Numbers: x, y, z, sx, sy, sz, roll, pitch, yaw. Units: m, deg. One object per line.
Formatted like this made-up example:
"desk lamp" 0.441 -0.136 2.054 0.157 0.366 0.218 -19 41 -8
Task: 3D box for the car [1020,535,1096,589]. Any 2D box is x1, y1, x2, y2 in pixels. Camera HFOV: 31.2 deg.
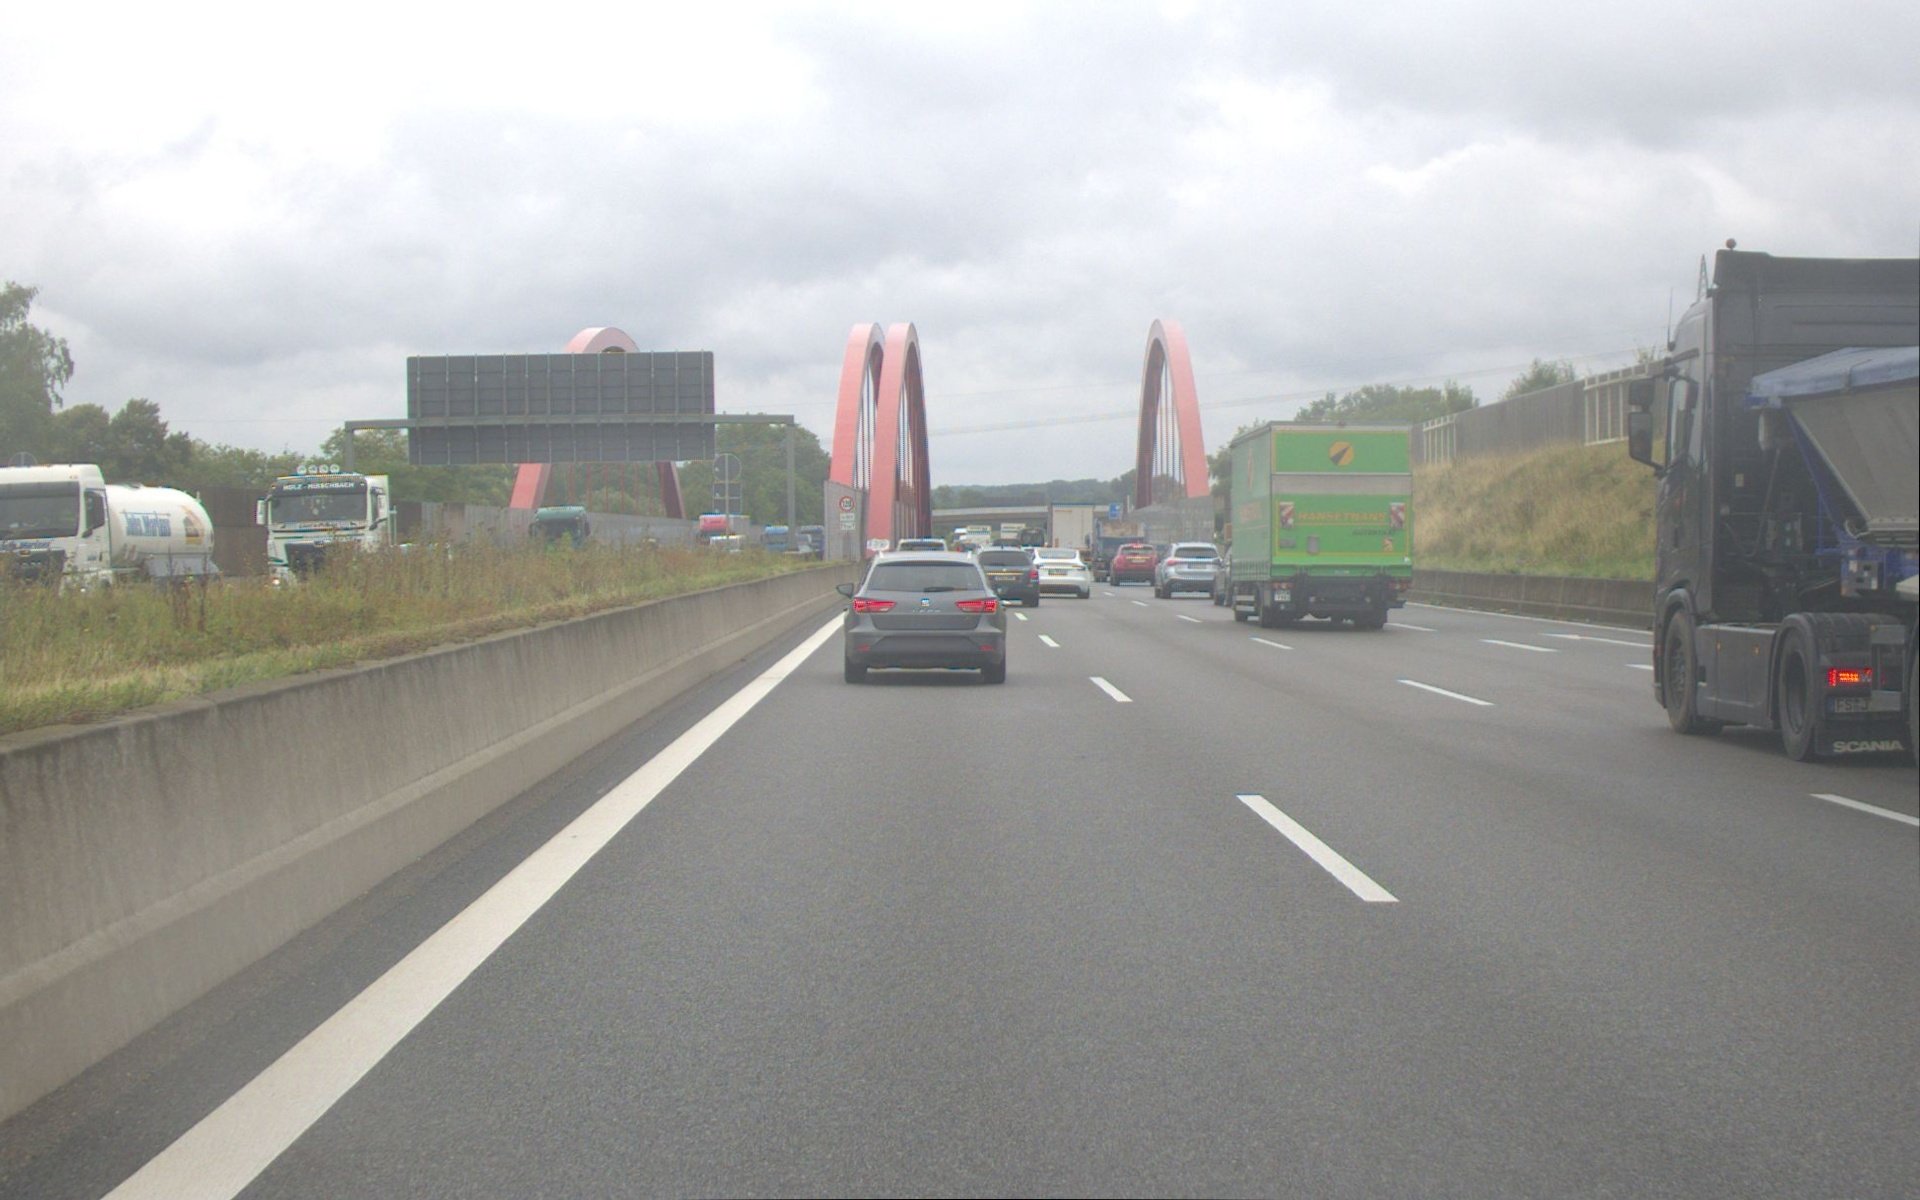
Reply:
"car" 2.769 -1.091 97.757 1.993 1.481 4.000 0 1 0

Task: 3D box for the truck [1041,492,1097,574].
"truck" 6.512 -3.998 206.100 3.044 4.718 7.680 1 1 0

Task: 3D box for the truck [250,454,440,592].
"truck" -14.578 -1.820 82.133 2.956 3.056 8.728 1 1 0

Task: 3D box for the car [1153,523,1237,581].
"car" 6.805 -1.414 100.154 1.993 1.613 5.328 1 1 -1

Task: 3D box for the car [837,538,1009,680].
"car" -0.363 0.060 37.564 1.764 1.448 4.000 1 1 1

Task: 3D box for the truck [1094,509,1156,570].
"truck" 6.976 -2.578 145.667 2.361 2.498 6.144 1 1 0

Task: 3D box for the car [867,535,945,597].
"car" -1.428 -0.929 91.106 1.993 1.579 4.000 -1 1 -1

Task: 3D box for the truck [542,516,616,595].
"truck" -18.977 -2.242 171.492 2.862 3.825 7.523 1 1 -1

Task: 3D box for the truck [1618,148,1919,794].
"truck" 7.212 -0.831 22.953 2.812 3.936 12.715 -1 1 -2

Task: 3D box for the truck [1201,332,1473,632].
"truck" 7.077 -2.192 66.638 3.997 5.248 11.220 1 1 0

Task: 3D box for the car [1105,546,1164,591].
"car" 6.614 -1.212 130.507 1.957 1.641 4.000 1 1 -1

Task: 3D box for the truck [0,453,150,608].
"truck" -18.475 -1.415 70.460 2.621 3.009 5.614 1 1 -3

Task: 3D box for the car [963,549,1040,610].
"car" 0.988 -0.518 83.261 1.782 1.401 3.626 0 1 0

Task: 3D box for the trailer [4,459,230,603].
"trailer" -18.631 -1.541 76.691 2.611 2.979 10.798 0 1 -1
